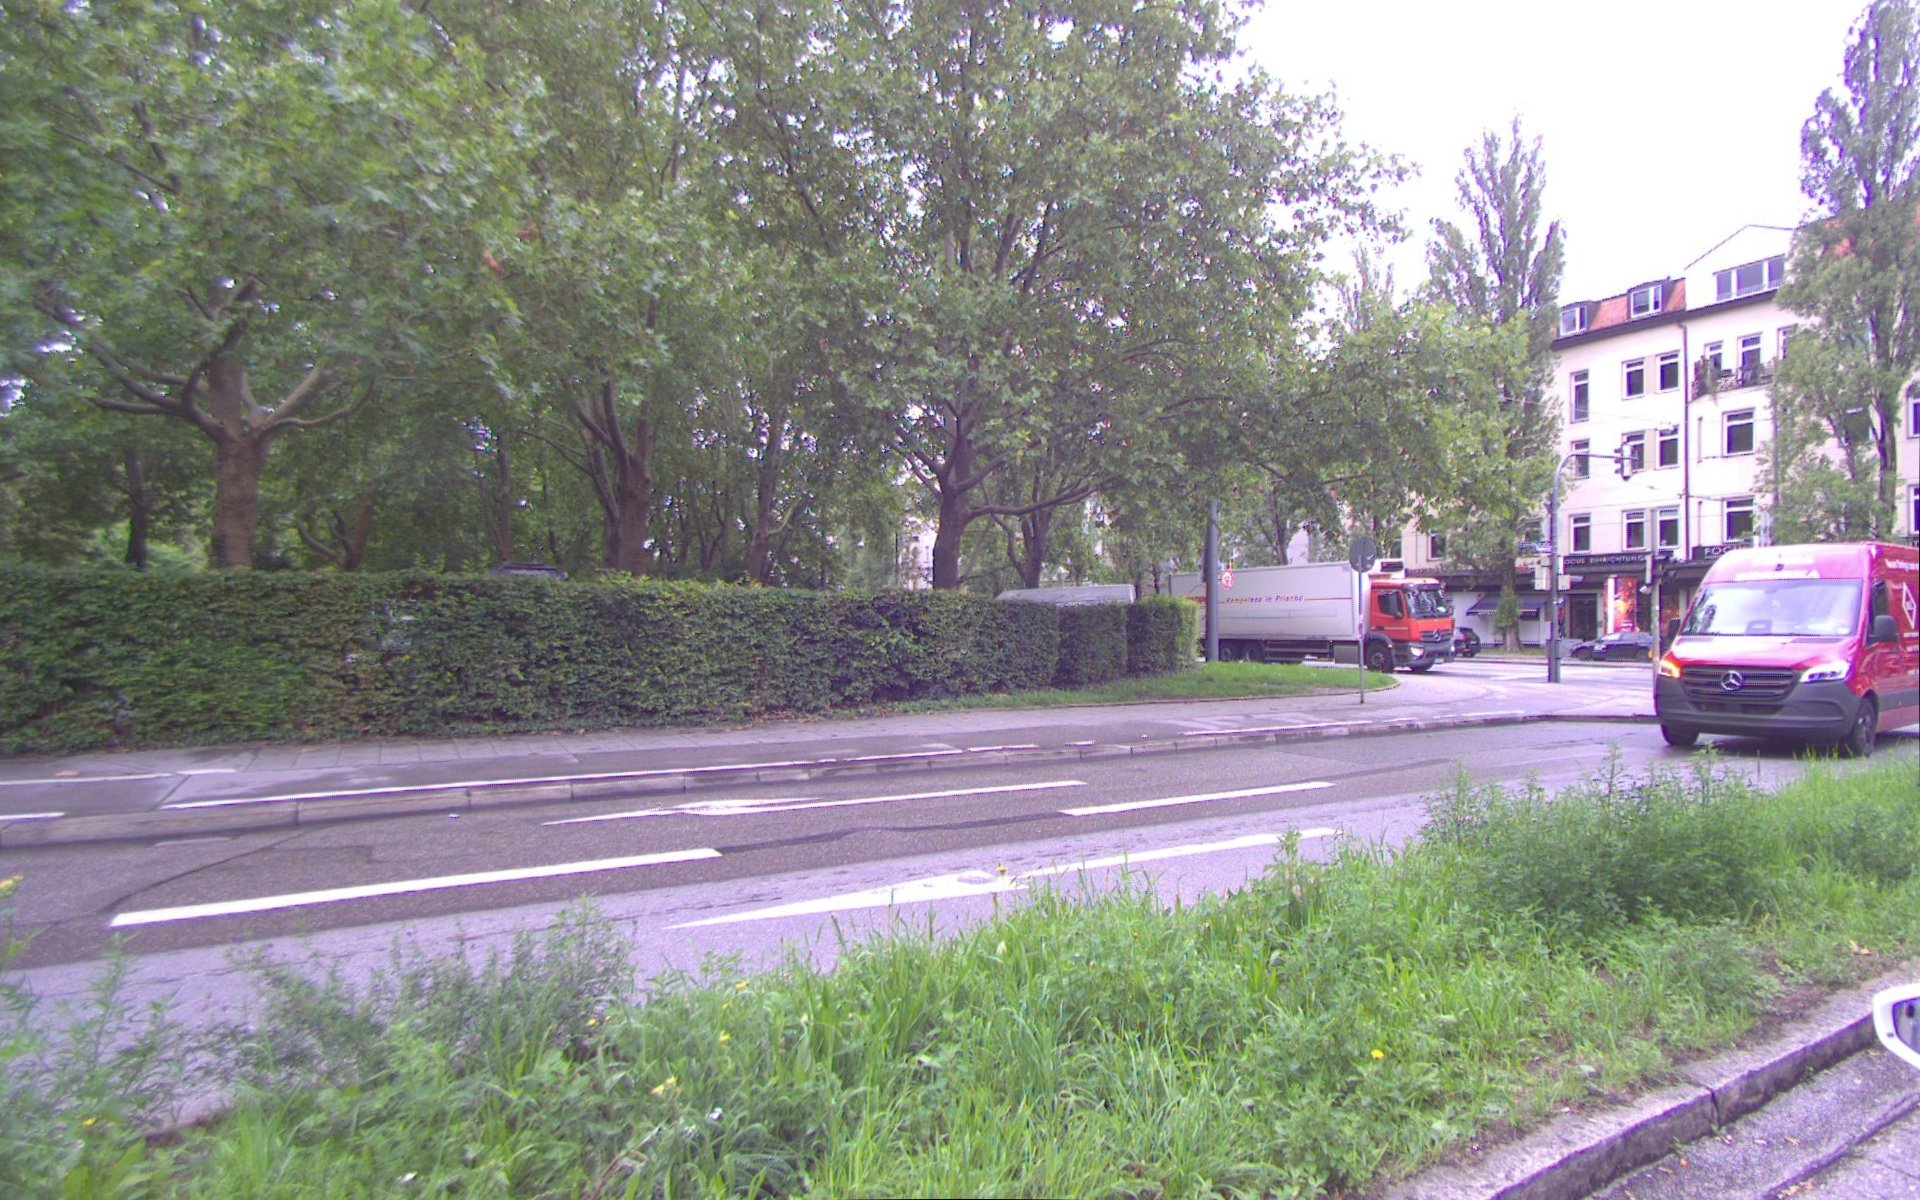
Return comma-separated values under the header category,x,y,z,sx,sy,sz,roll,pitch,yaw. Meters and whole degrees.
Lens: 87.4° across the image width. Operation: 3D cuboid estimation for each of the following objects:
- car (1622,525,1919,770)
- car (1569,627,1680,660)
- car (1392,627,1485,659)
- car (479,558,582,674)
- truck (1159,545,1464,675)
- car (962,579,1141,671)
category,x,y,z,sx,sy,sz,roll,pitch,yaw
car,11.268,0.534,13.359,6.021,2.623,2.089,0,-1,-36
car,31.033,2.023,46.998,1.786,1.485,3.964,2,-2,-33
car,26.131,2.330,55.041,1.706,1.633,4.435,1,-2,-30
car,-10.883,0.355,25.190,1.974,2.569,5.823,2,0,-27
truck,12.236,0.428,36.851,2.716,4.033,11.623,0,-1,-30
car,2.548,0.684,27.406,4.536,2.040,2.001,-5,-1,11
